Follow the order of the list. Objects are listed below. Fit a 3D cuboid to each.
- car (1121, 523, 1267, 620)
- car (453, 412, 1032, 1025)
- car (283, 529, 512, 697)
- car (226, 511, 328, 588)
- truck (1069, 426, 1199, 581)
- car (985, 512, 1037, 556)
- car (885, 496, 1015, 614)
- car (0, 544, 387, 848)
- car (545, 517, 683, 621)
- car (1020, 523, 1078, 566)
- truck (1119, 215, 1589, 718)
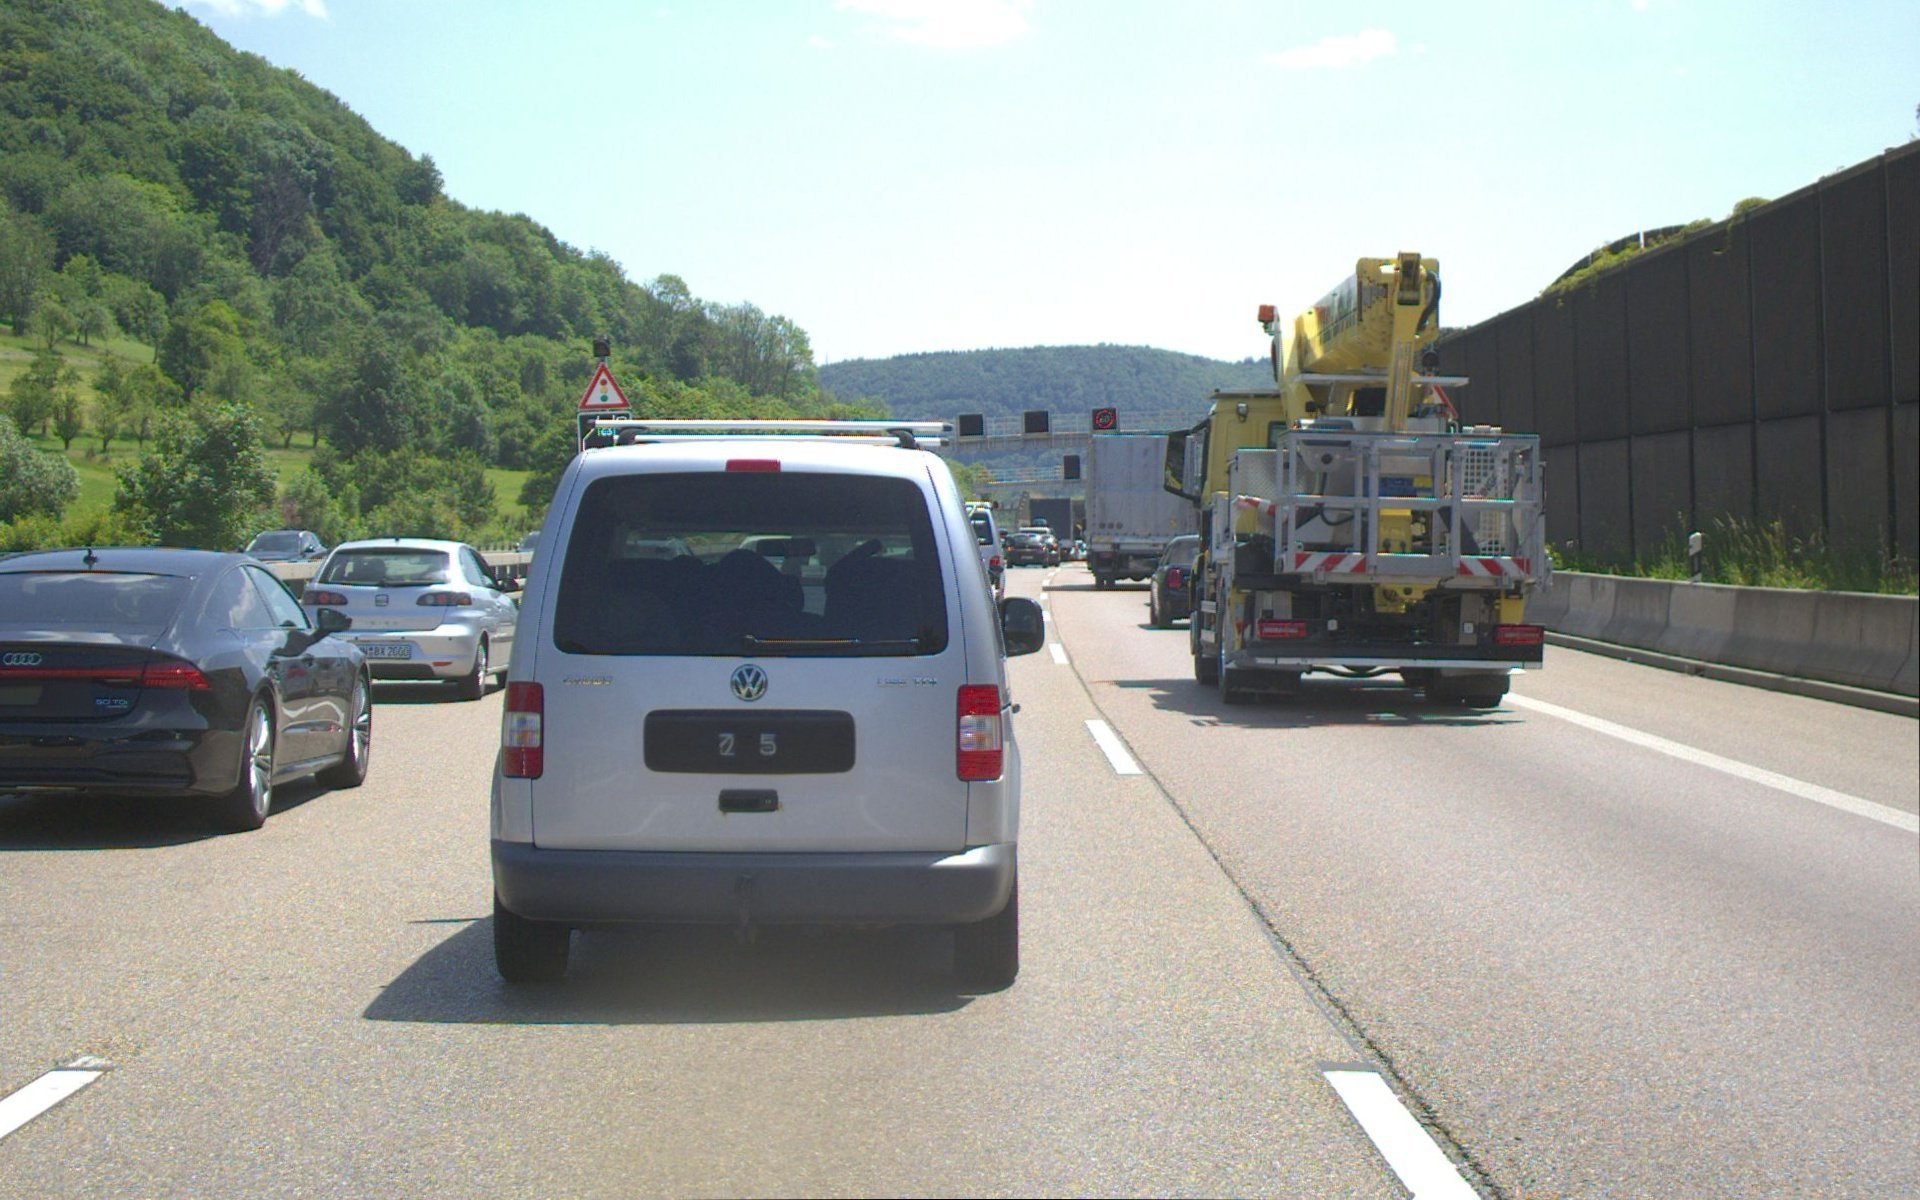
[{"bbox_3d":[3.651,-0.474,54.168,1.786,1.453,3.771,0,1,-4],"label":"car"},{"bbox_3d":[-0.794,0.314,12.495,1.756,1.861,4.001,0,1,-4],"label":"car"},{"bbox_3d":[-5.116,0.074,31.677,1.695,1.440,3.862,0,1,-4],"label":"car"},{"bbox_3d":[-18.140,-1.365,91.475,1.993,2.007,4.000,0,1,-1],"label":"car"},{"bbox_3d":[4.439,-2.445,89.365,2.940,3.810,8.237,1,1,0],"label":"truck"},{"bbox_3d":[2.084,-2.673,140.611,1.993,1.743,4.000,1,1,-1],"label":"car"},{"bbox_3d":[-0.207,-0.796,59.352,1.993,1.969,4.001,0,1,-4],"label":"car"},{"bbox_3d":[-4.390,0.408,18.518,1.800,1.385,4.970,0,1,0],"label":"car"},{"bbox_3d":[-5.158,-0.494,51.647,1.924,1.494,4.001,0,1,-4],"label":"car"},{"bbox_3d":[3.828,-2.388,148.076,2.114,1.821,4.001,1,1,-4],"label":"car"},{"bbox_3d":[3.301,-1.145,31.294,2.703,3.929,8.723,0,1,-4],"label":"truck"}]
